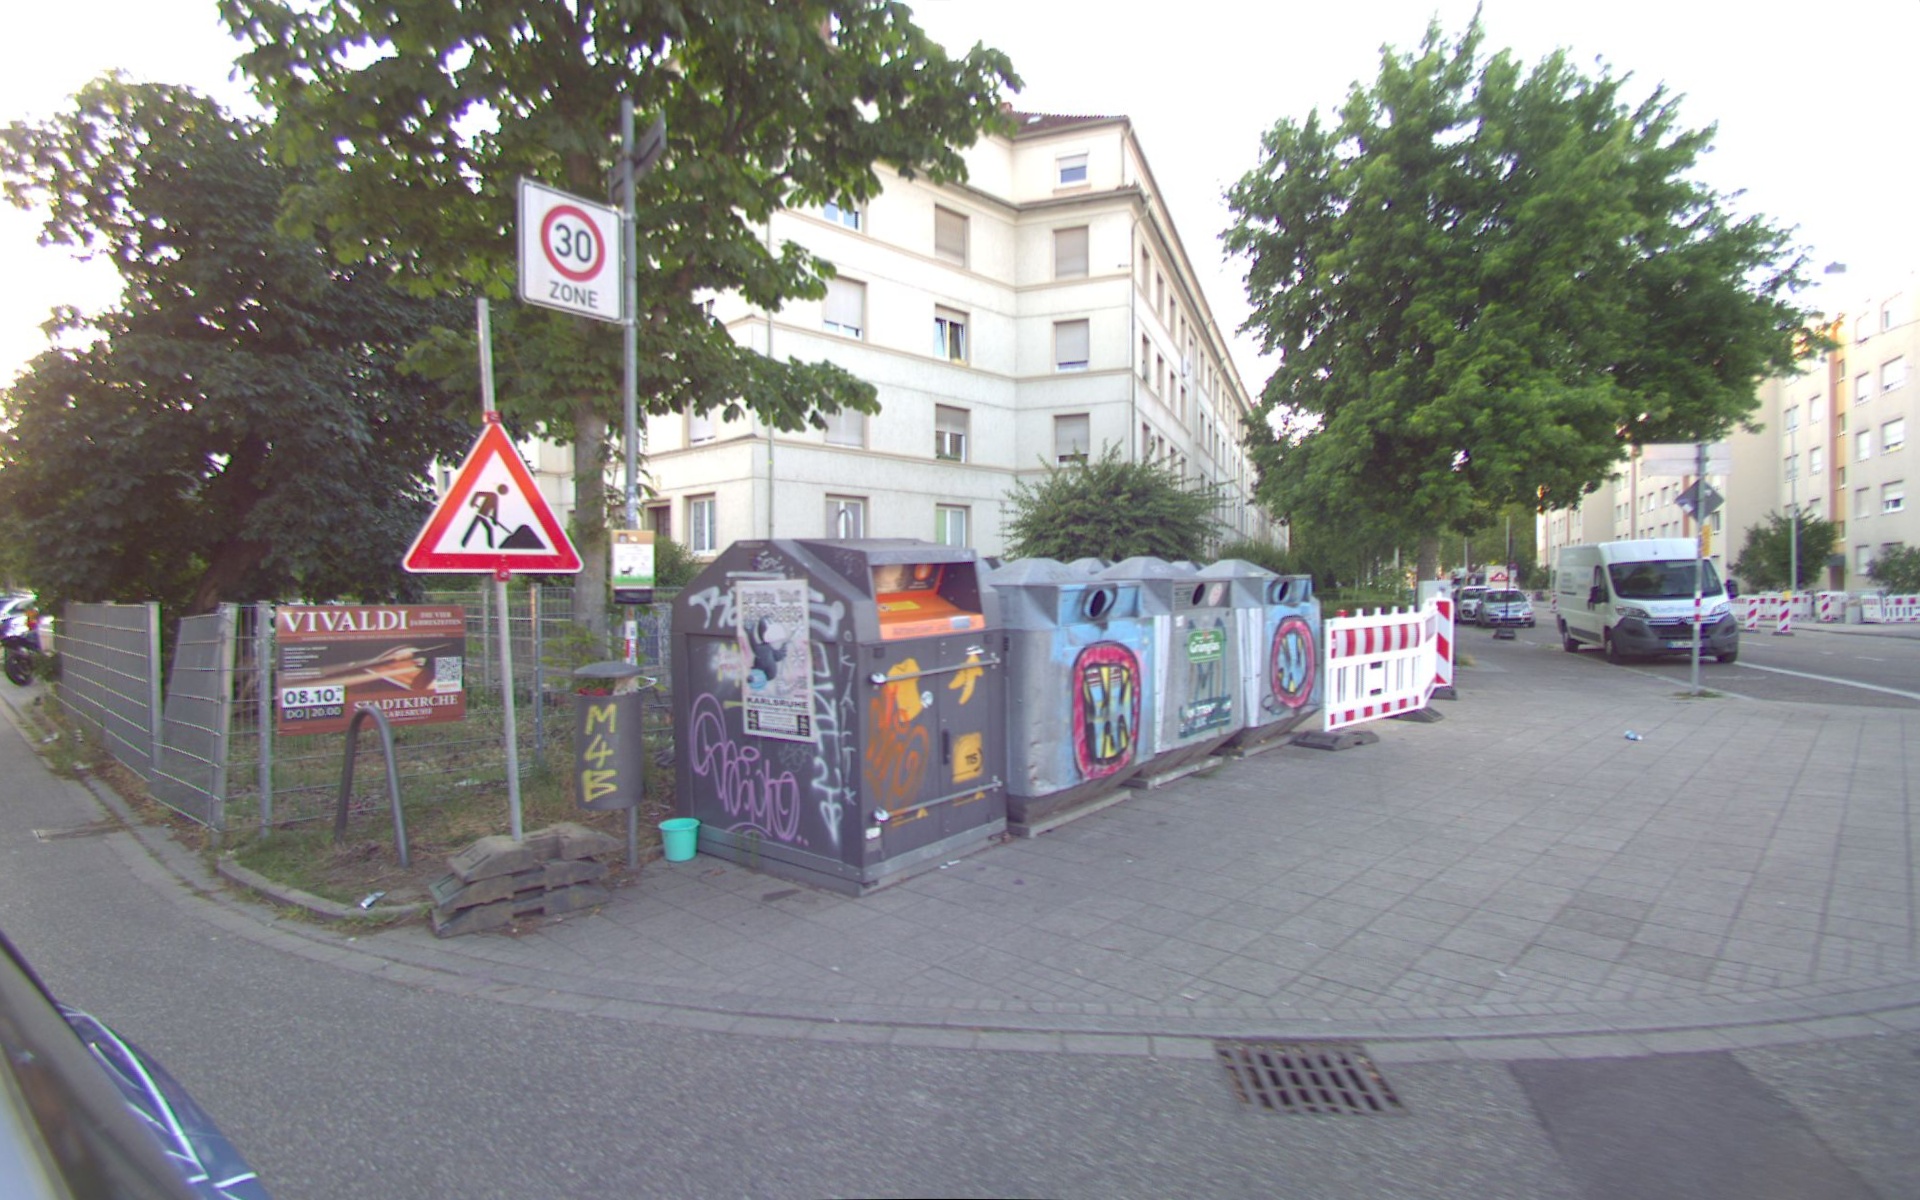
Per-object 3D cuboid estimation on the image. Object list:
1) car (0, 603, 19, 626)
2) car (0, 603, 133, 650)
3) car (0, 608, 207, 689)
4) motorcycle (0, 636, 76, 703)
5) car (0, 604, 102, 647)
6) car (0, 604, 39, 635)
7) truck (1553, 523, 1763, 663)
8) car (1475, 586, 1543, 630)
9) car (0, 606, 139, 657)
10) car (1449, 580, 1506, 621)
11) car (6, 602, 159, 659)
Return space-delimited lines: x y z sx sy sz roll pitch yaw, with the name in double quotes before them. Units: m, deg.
"car" -90.913 1.409 94.213 4.717 2.085 2.002 -1 0 -42
"car" -33.061 0.934 37.465 3.635 1.495 1.729 -3 3 -44
"car" -18.858 1.006 22.134 1.693 1.568 3.584 -1 0 43
"motorcycle" -17.212 1.254 18.621 0.530 1.028 2.218 -4 2 -18
"car" -35.372 0.967 38.793 3.635 1.456 1.729 -3 3 -45
"car" -49.812 1.040 51.843 1.727 1.495 3.661 -1 2 41
"truck" 14.215 -0.131 21.095 2.093 2.441 6.005 -2 0 20
"car" 21.101 0.288 39.034 1.749 1.494 3.900 -4 -1 21
"car" -31.116 1.053 35.091 3.932 1.500 1.729 -3 3 -45
"car" 22.617 0.011 44.333 1.749 1.616 3.900 -3 -1 21
"car" -28.142 0.914 32.521 1.726 1.577 3.441 1 2 38
